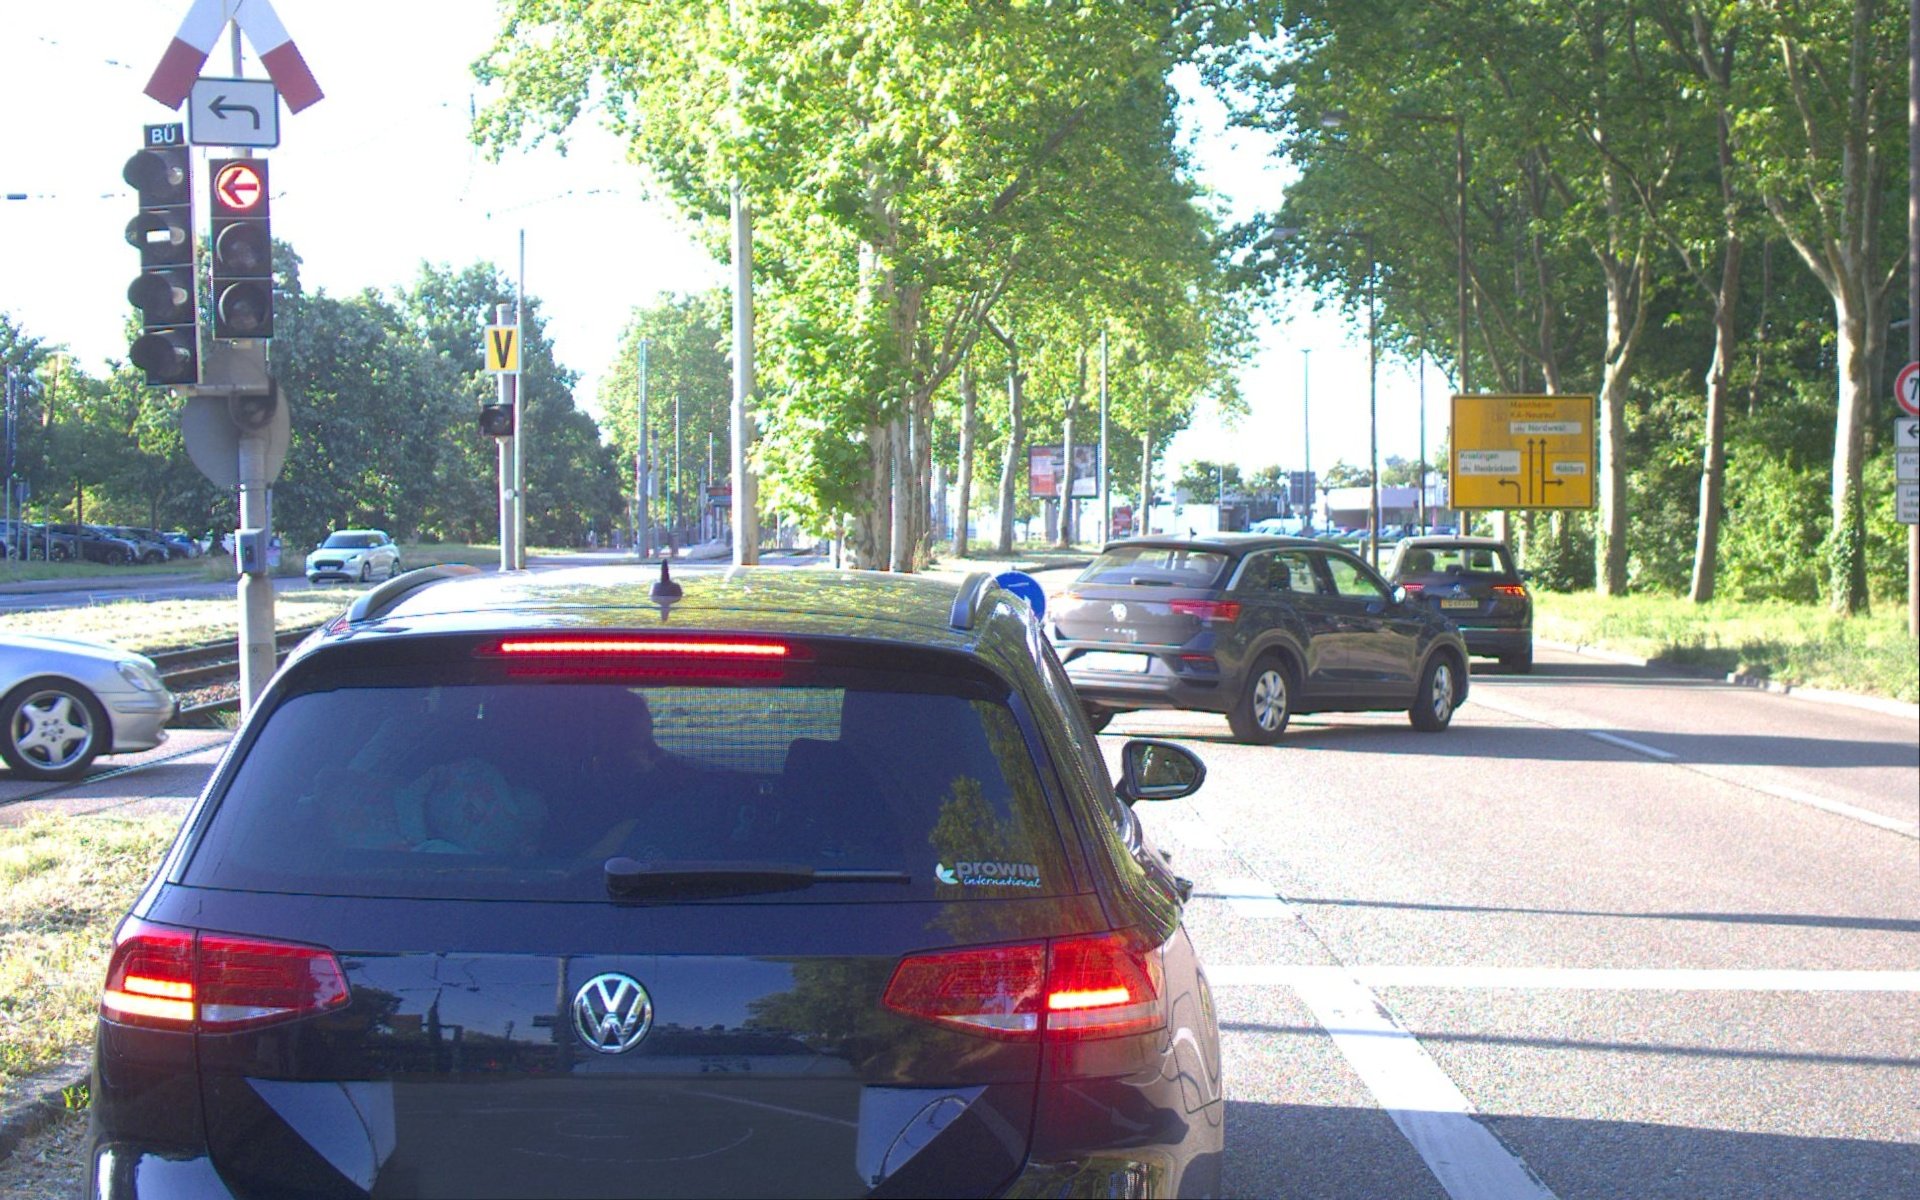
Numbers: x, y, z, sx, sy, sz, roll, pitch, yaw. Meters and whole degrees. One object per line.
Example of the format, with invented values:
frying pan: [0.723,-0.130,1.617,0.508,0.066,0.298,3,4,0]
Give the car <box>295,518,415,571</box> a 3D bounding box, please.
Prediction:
car: [-17.774,-1.645,101.141,1.863,1.476,4.089,1,1,16]

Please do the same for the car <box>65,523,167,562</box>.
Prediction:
car: [-35.818,-2.445,145.918,3.986,1.615,1.744,1,1,-5]

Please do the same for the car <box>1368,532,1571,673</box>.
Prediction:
car: [6.164,0.000,42.025,1.872,1.629,4.370,0,1,1]

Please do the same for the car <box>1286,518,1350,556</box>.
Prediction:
car: [20.351,-3.577,195.187,2.098,2.058,4.873,1,1,25]

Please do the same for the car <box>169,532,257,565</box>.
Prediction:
car: [-36.502,-2.535,167.994,3.986,1.550,1.744,1,1,-4]

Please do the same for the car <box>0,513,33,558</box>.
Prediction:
car: [-35.911,-2.353,125.012,3.986,1.615,1.744,1,1,-5]

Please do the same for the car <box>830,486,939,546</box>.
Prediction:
car: [-3.137,-3.522,145.080,2.098,2.453,5.844,1,2,26]

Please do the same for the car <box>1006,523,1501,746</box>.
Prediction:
car: [2.332,0.220,26.397,1.711,1.555,4.156,2,1,39]

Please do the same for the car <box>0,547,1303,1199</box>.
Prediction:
car: [-0.478,0.647,6.421,1.795,1.459,3.583,1,1,-1]

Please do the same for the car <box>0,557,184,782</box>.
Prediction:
car: [-6.759,0.421,20.687,3.968,1.290,1.615,-1,1,-16]

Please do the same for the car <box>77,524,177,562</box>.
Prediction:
car: [-36.111,-2.464,149.081,3.986,1.615,1.744,1,1,-5]
